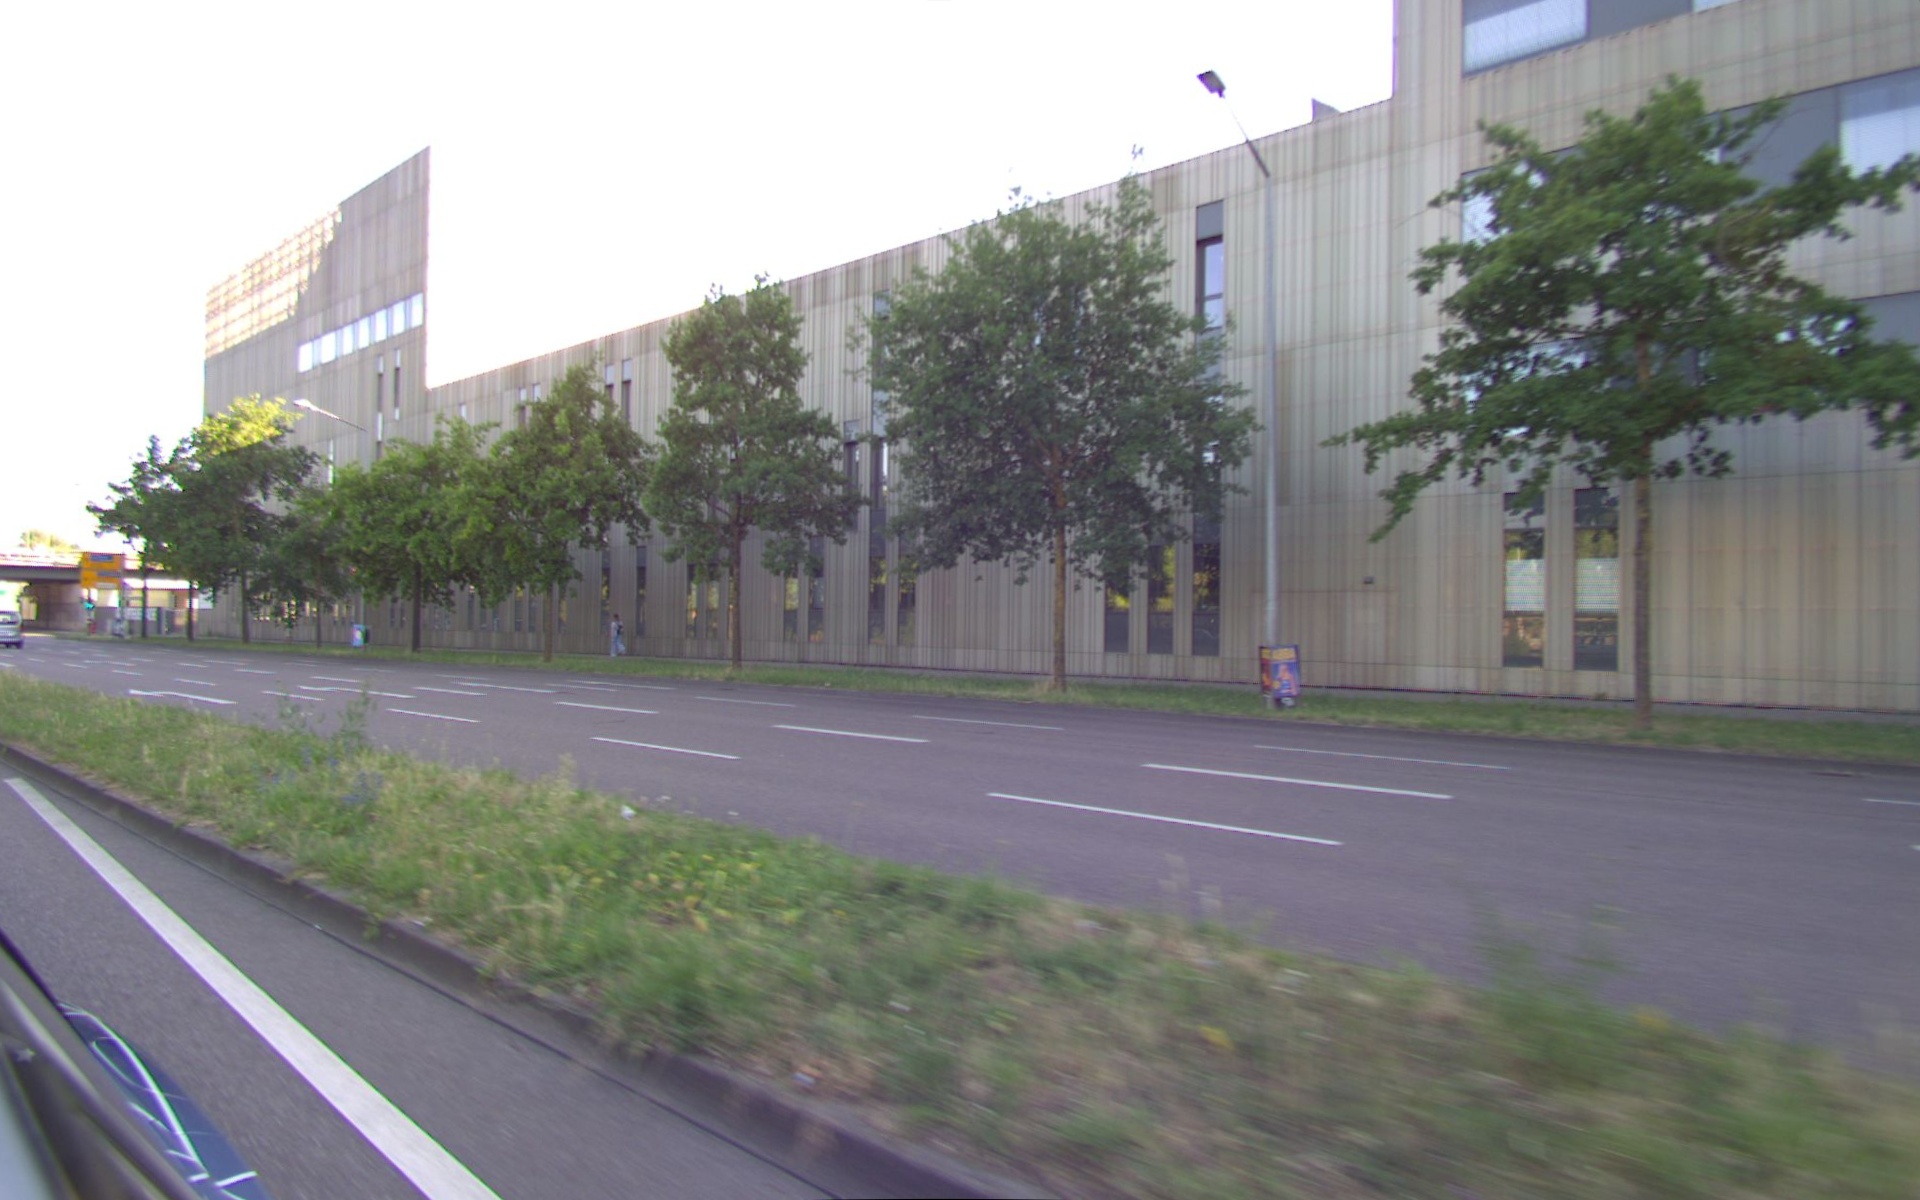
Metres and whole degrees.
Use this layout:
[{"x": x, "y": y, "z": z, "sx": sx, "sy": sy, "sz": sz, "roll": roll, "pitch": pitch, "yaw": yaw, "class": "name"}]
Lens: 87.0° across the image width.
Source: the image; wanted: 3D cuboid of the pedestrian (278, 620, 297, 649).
[{"x": -38.676, "y": 1.990, "z": 58.171, "sx": 0.724, "sy": 1.641, "sz": 0.690, "roll": -1, "pitch": -2, "yaw": 39, "class": "pedestrian"}]

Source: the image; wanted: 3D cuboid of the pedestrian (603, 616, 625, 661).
[{"x": -14.019, "y": 1.554, "z": 41.001, "sx": 0.648, "sy": 1.781, "sz": 0.596, "roll": -1, "pitch": -2, "yaw": 40, "class": "pedestrian"}]

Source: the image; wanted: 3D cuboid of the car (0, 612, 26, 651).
[{"x": -46.303, "y": 1.476, "z": 48.288, "sx": 4.398, "sy": 1.830, "sz": 1.973, "roll": -1, "pitch": -3, "yaw": 40, "class": "car"}]
